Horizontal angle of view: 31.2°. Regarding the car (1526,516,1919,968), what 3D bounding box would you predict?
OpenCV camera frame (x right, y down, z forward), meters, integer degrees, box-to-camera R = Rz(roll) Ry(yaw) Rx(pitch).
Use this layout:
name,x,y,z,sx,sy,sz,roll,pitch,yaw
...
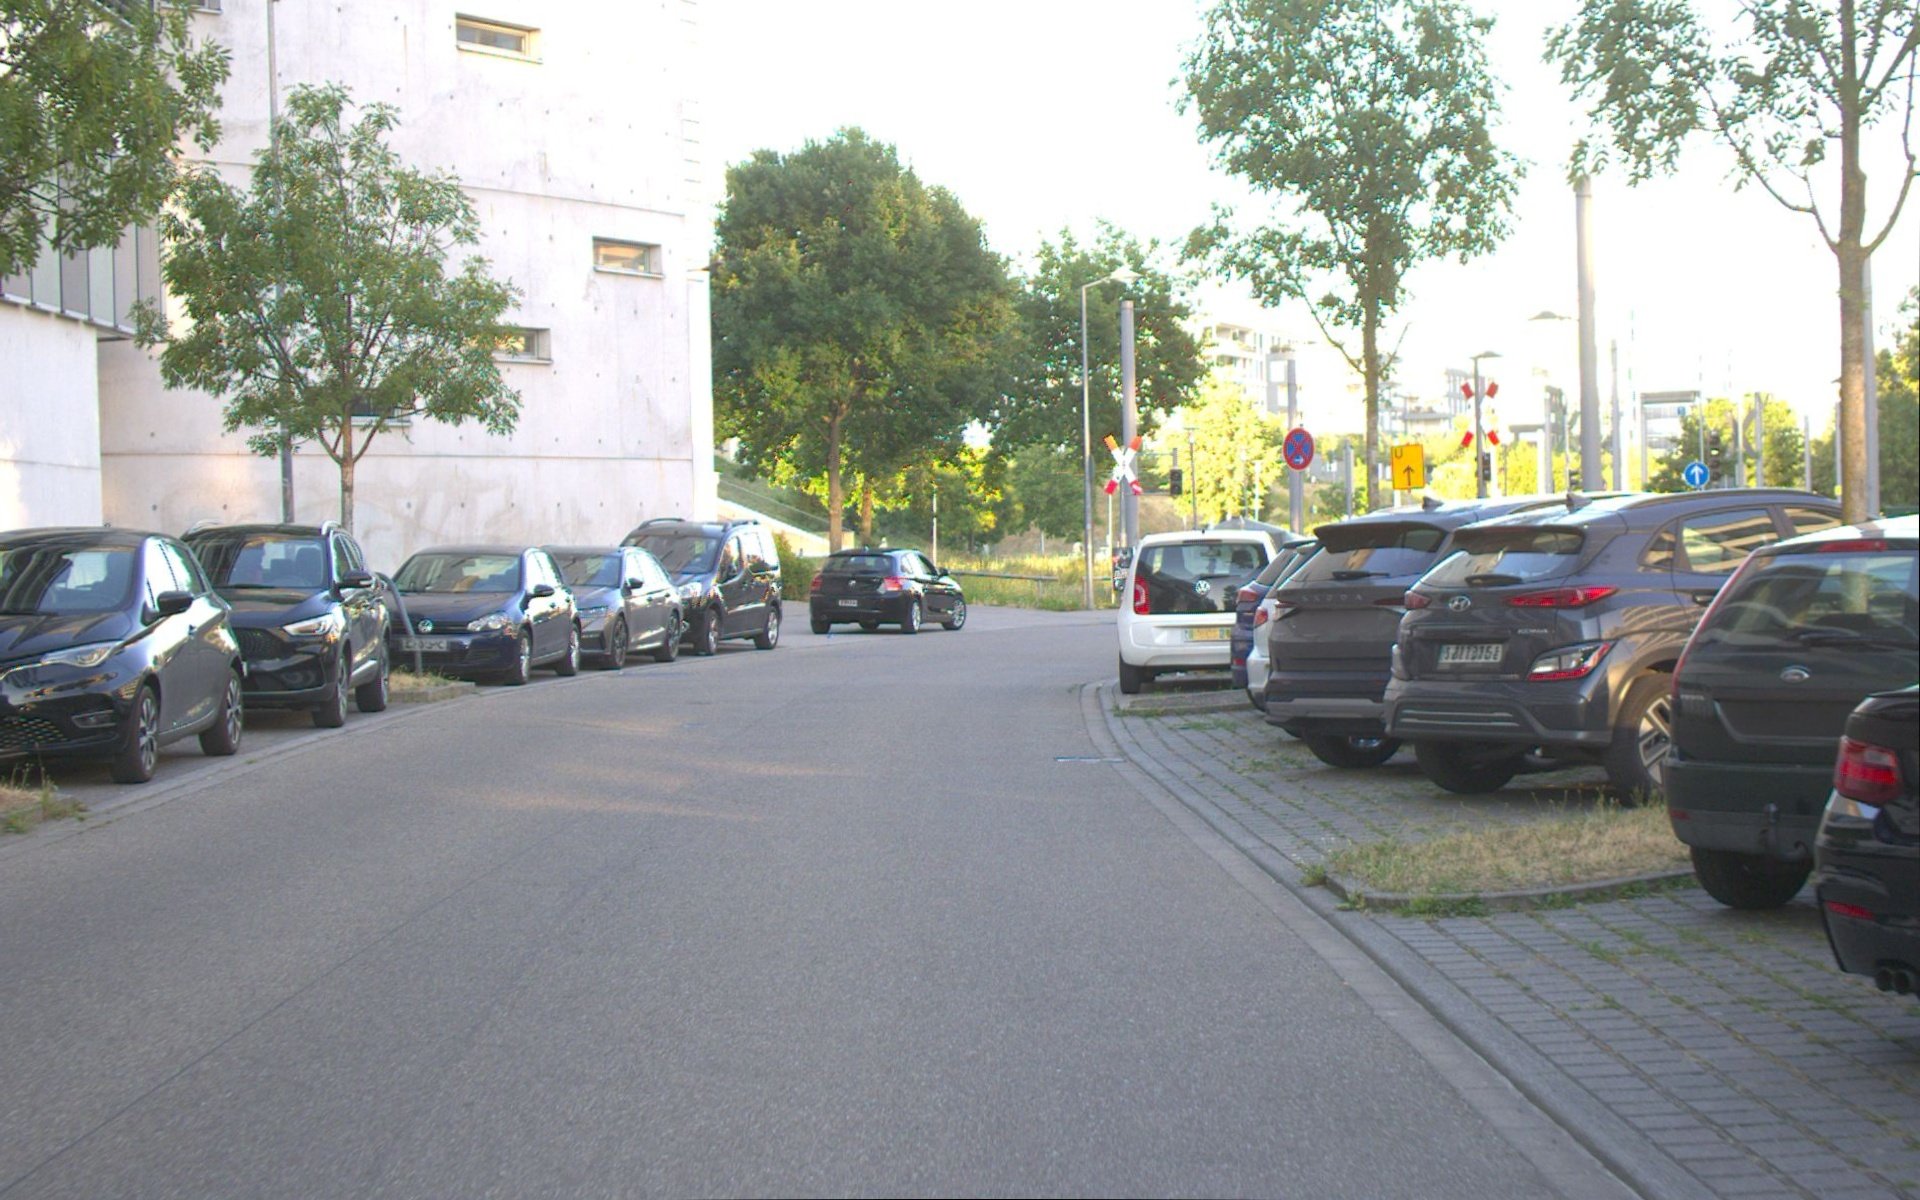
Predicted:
name,x,y,z,sx,sy,sz,roll,pitch,yaw
car,4.089,0.419,12.841,3.767,1.437,1.763,-1,2,-37

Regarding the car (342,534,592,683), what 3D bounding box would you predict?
name,x,y,z,sx,sy,sz,roll,pitch,yaw
car,-5.233,0.043,37.017,1.723,1.452,4.271,1,2,5

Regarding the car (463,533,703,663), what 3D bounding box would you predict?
name,x,y,z,sx,sy,sz,roll,pitch,yaw
car,-4.554,-0.071,42.202,1.723,1.452,4.692,1,2,9

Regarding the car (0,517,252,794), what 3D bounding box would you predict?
name,x,y,z,sx,sy,sz,roll,pitch,yaw
car,-5.767,0.274,21.819,1.756,1.555,4.043,1,2,-1

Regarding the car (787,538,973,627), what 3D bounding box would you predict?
name,x,y,z,sx,sy,sz,roll,pitch,yaw
car,-1.301,-0.333,57.816,1.945,1.378,4.396,1,2,15

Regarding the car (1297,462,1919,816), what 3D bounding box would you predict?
name,x,y,z,sx,sy,sz,roll,pitch,yaw
car,4.061,0.139,18.545,3.974,1.634,1.973,-3,1,-29

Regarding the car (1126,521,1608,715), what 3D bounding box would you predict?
name,x,y,z,sx,sy,sz,roll,pitch,yaw
car,3.399,0.106,28.533,3.742,1.504,1.688,-1,2,-33

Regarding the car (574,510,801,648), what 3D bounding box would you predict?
name,x,y,z,sx,sy,sz,roll,pitch,yaw
car,-3.696,-0.333,47.428,1.758,1.792,4.460,1,2,14

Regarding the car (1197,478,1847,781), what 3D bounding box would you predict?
name,x,y,z,sx,sy,sz,roll,pitch,yaw
car,3.506,0.125,21.288,3.767,1.720,1.763,-1,2,-34

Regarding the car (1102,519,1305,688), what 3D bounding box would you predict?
name,x,y,z,sx,sy,sz,roll,pitch,yaw
car,2.374,-0.008,32.776,1.723,1.462,3.552,-2,1,7

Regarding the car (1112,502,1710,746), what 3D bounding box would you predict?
name,x,y,z,sx,sy,sz,roll,pitch,yaw
car,3.324,0.135,25.197,3.920,1.504,1.957,-4,2,-31

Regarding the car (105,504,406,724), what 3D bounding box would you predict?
name,x,y,z,sx,sy,sz,roll,pitch,yaw
car,-5.678,0.054,28.127,1.756,1.648,3.949,1,2,-2

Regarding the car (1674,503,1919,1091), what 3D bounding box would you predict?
name,x,y,z,sx,sy,sz,roll,pitch,yaw
car,3.916,0.473,9.659,3.767,1.460,1.638,-1,2,-37
